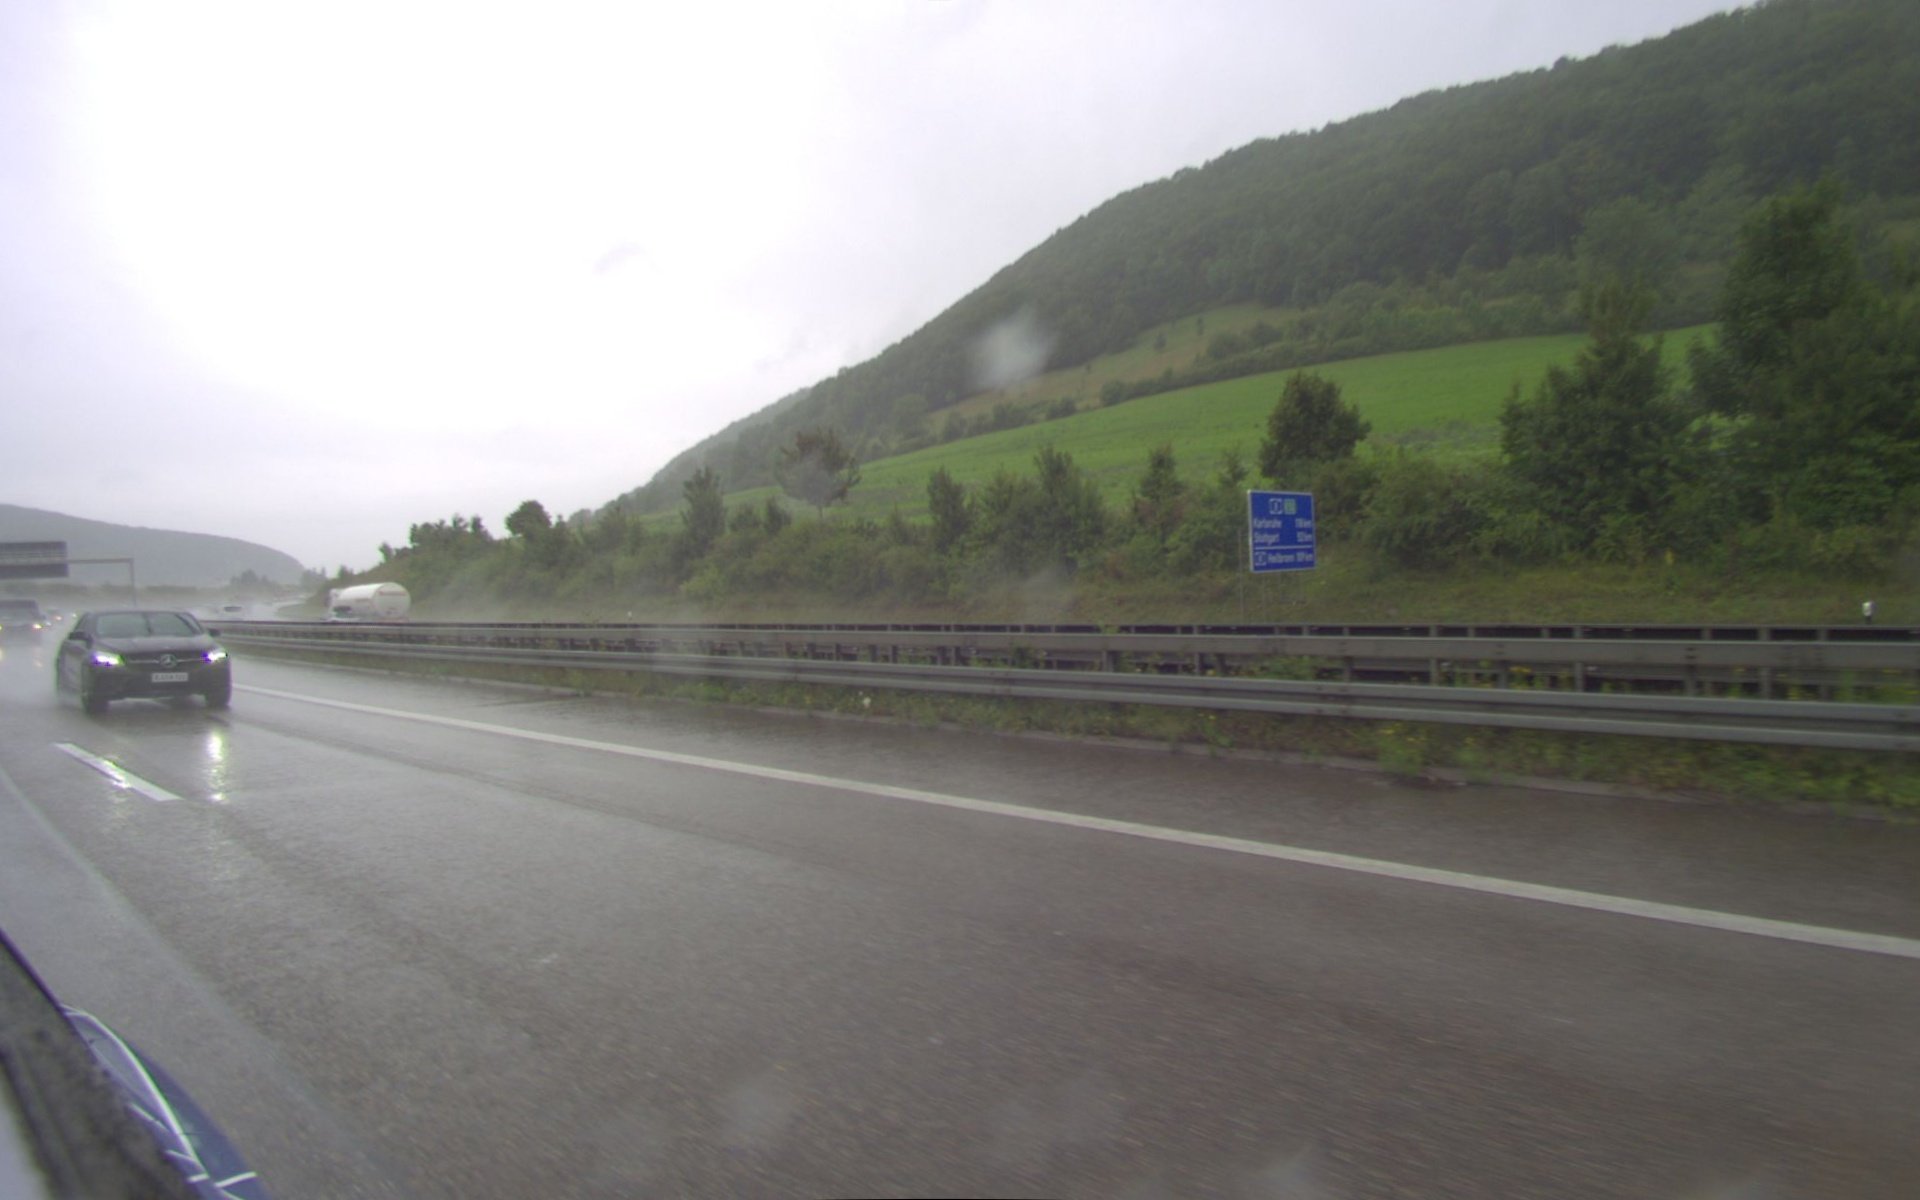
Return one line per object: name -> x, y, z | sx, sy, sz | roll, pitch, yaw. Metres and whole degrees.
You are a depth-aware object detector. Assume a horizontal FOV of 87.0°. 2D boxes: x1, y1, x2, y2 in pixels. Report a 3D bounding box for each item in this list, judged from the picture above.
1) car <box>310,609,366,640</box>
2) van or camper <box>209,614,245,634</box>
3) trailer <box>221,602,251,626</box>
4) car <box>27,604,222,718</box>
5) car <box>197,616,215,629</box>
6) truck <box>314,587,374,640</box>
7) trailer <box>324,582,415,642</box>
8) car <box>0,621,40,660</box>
car -> -36.232, 1.416, 58.922 | 1.970, 1.747, 4.003 | 0, -1, -44
van or camper -> -72.804, 2.393, 100.525 | 5.347, 1.892, 1.971 | -1, -1, 44
trailer -> -110.094, 2.103, 153.893 | 2.687, 3.517, 9.407 | 0, 0, -42
car -> -14.283, 0.934, 17.250 | 3.744, 1.715, 1.793 | 0, 0, 38
car -> -119.825, 3.609, 160.891 | 1.891, 2.029, 4.004 | -1, 0, -43
truck -> -46.985, 1.019, 77.171 | 2.850, 3.831, 5.320 | 0, -1, -44
trailer -> -42.165, 0.874, 71.991 | 2.898, 3.932, 12.580 | 0, -1, -43
car -> -52.276, 2.217, 55.855 | 3.934, 2.029, 1.960 | -2, -1, 44
